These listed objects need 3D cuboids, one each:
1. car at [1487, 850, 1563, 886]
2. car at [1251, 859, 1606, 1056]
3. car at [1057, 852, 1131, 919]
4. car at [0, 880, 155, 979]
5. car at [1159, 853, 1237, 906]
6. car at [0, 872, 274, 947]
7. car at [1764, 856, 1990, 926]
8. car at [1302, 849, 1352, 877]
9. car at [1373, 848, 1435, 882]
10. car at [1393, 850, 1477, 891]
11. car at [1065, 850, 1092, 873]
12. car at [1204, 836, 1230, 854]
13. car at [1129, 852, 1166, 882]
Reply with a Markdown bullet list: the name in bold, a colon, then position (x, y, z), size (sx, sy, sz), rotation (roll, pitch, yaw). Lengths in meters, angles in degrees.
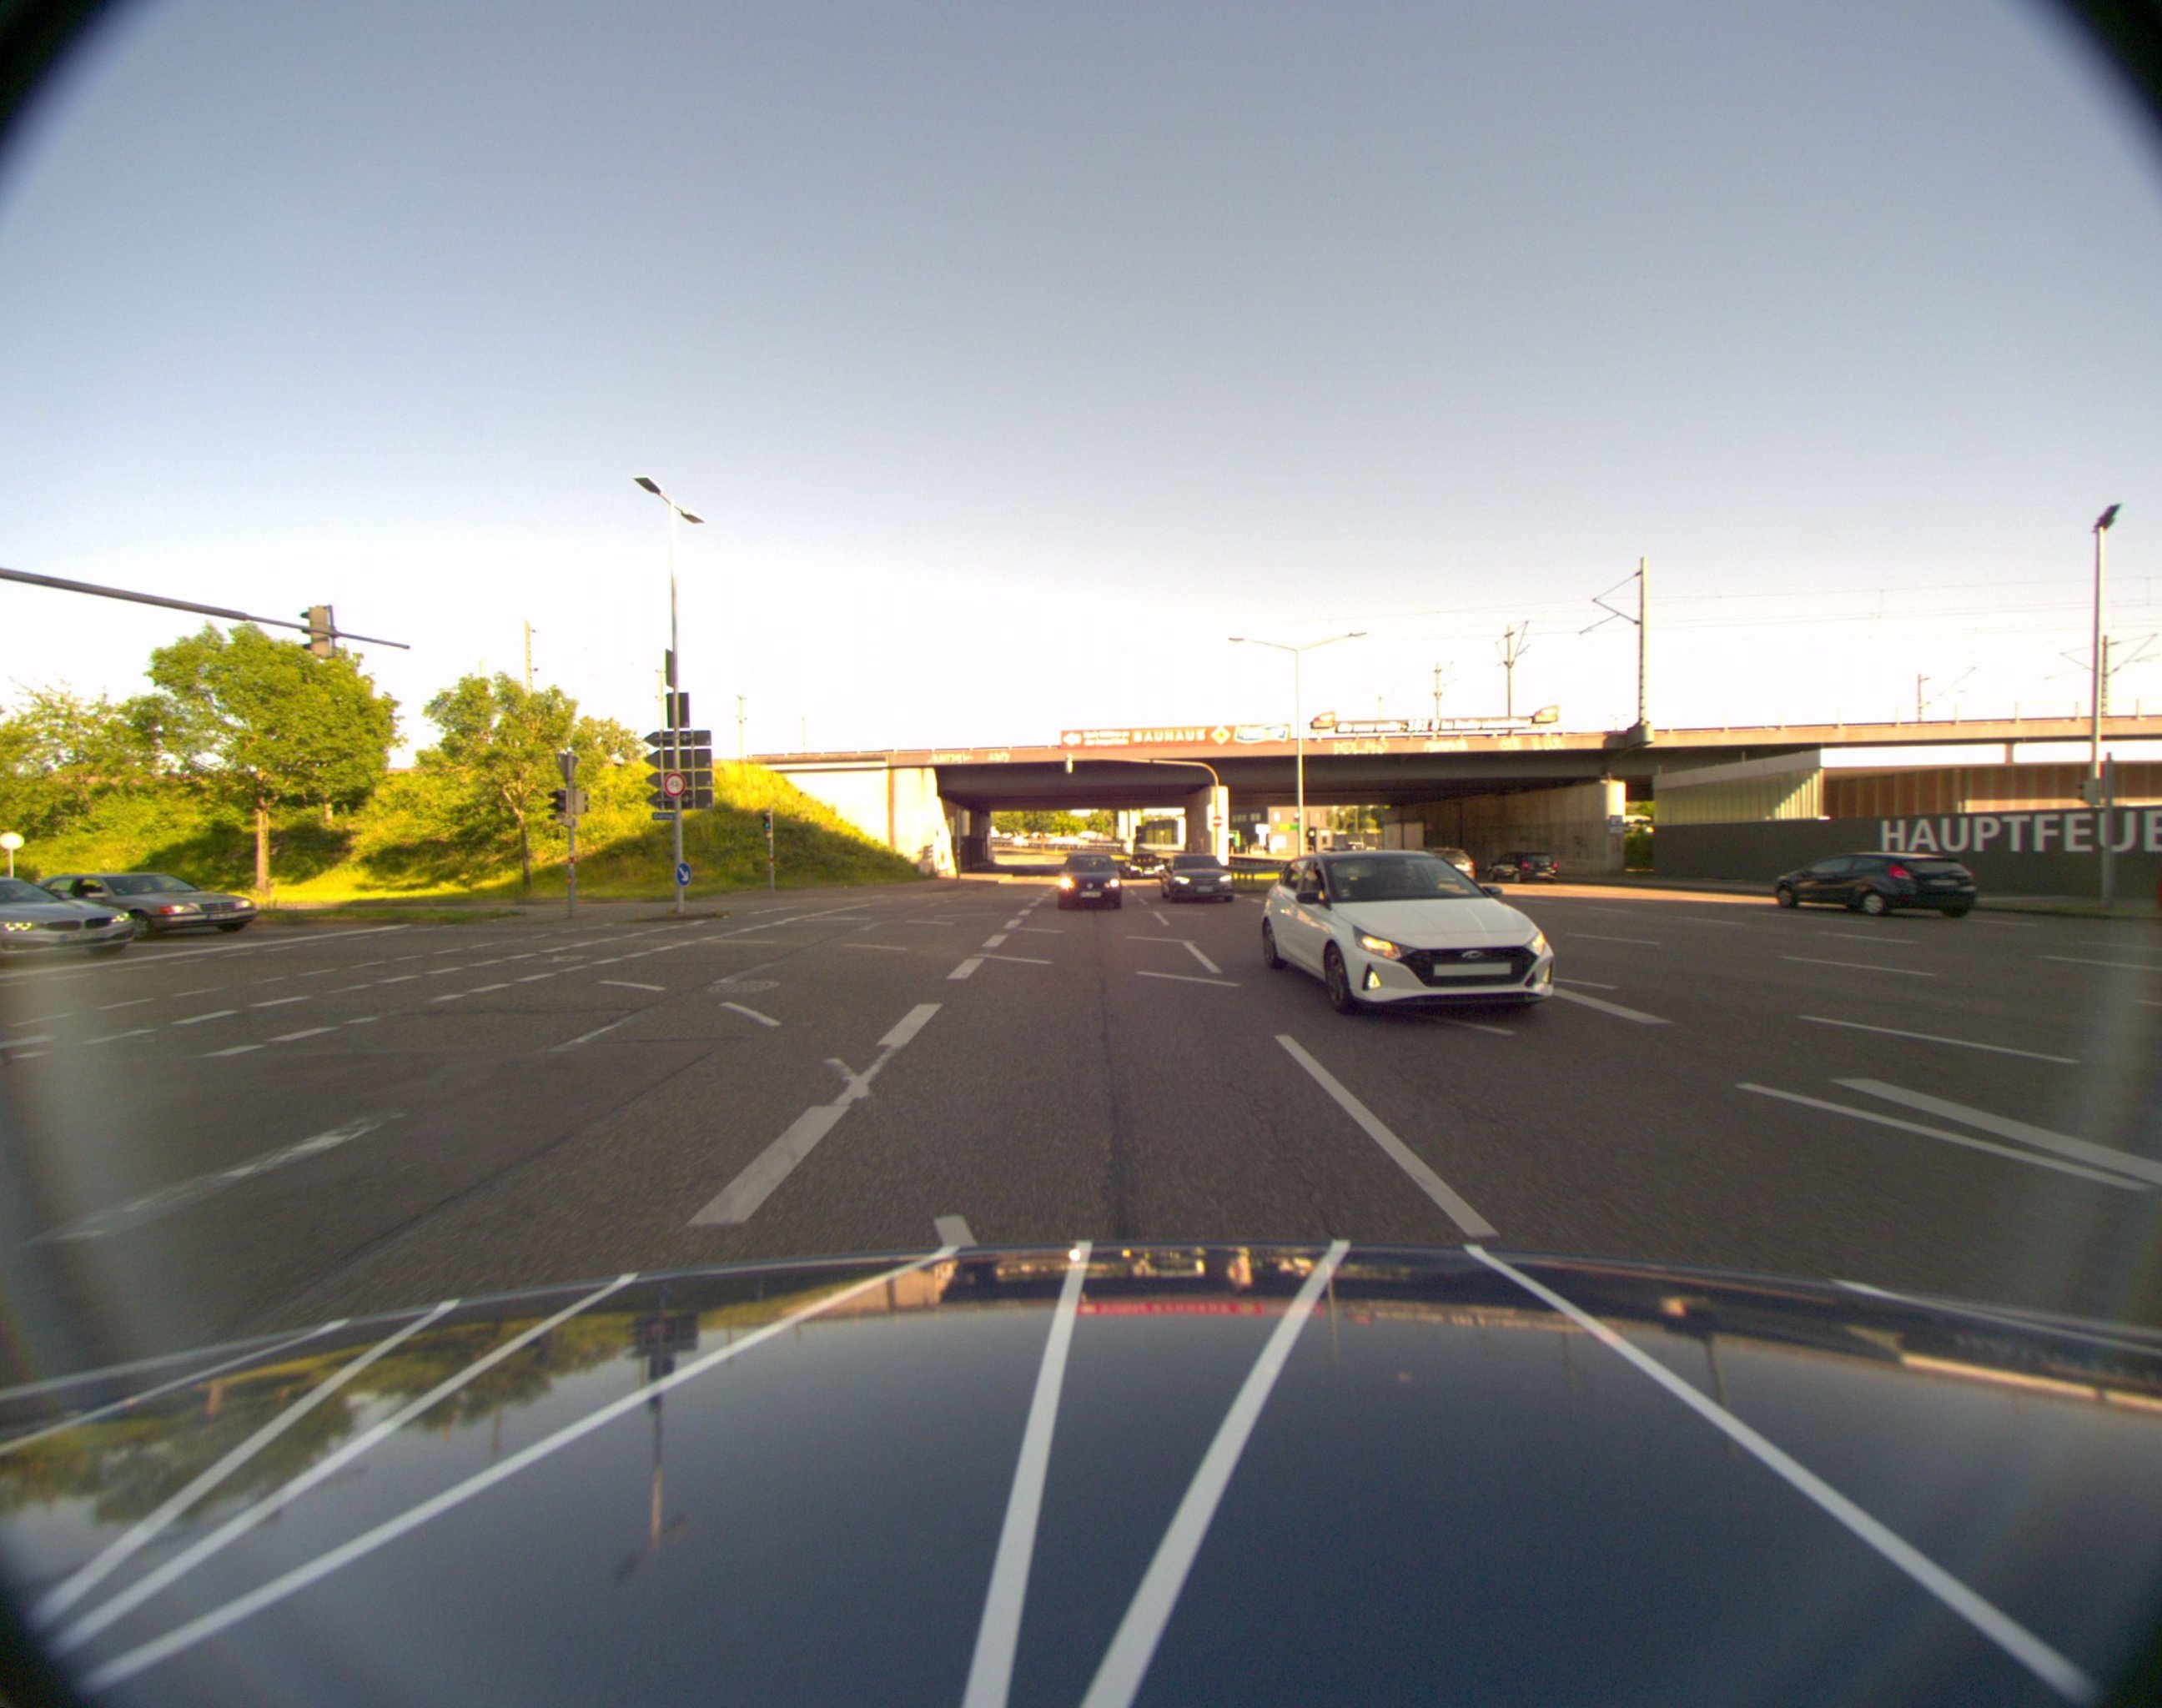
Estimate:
- **car**: position (20.466, 0.611, 35.199), size (1.571, 1.524, 3.426), rotation (-1, 0, 1)
- **car**: position (3.106, 0.801, 7.824), size (1.782, 1.401, 4.074), rotation (-2, 0, 0)
- **car**: position (0.324, 0.728, 19.806), size (1.702, 1.474, 4.052), rotation (-2, 1, 1)
- **car**: position (-19.131, 1.263, 13.251), size (3.995, 1.467, 1.817), rotation (-1, 2, 6)
- **car**: position (3.414, 0.692, 22.918), size (1.702, 1.396, 4.364), rotation (-1, 1, 1)
- **car**: position (-20.679, 1.198, 16.744), size (3.995, 1.424, 1.816), rotation (-1, 2, 5)
- **car**: position (18.623, 0.788, 18.067), size (1.493, 1.403, 3.939), rotation (0, 1, 6)
- **car**: position (14.690, 0.519, 45.554), size (1.727, 1.531, 4.000), rotation (1, 1, 1)
- **car**: position (17.437, 0.557, 41.217), size (1.727, 1.730, 4.000), rotation (0, 1, 1)
- **car**: position (14.293, 0.621, 30.897), size (1.632, 1.531, 4.000), rotation (1, 1, 2)
- **car**: position (-0.153, 0.481, 51.615), size (1.702, 1.478, 3.946), rotation (-1, 1, 1)
- **car**: position (13.498, -0.900, 75.575), size (1.815, 1.687, 3.999), rotation (-2, 1, 0)
- **car**: position (3.617, 0.673, 41.713), size (1.702, 1.529, 3.946), rotation (-1, 1, 1)
